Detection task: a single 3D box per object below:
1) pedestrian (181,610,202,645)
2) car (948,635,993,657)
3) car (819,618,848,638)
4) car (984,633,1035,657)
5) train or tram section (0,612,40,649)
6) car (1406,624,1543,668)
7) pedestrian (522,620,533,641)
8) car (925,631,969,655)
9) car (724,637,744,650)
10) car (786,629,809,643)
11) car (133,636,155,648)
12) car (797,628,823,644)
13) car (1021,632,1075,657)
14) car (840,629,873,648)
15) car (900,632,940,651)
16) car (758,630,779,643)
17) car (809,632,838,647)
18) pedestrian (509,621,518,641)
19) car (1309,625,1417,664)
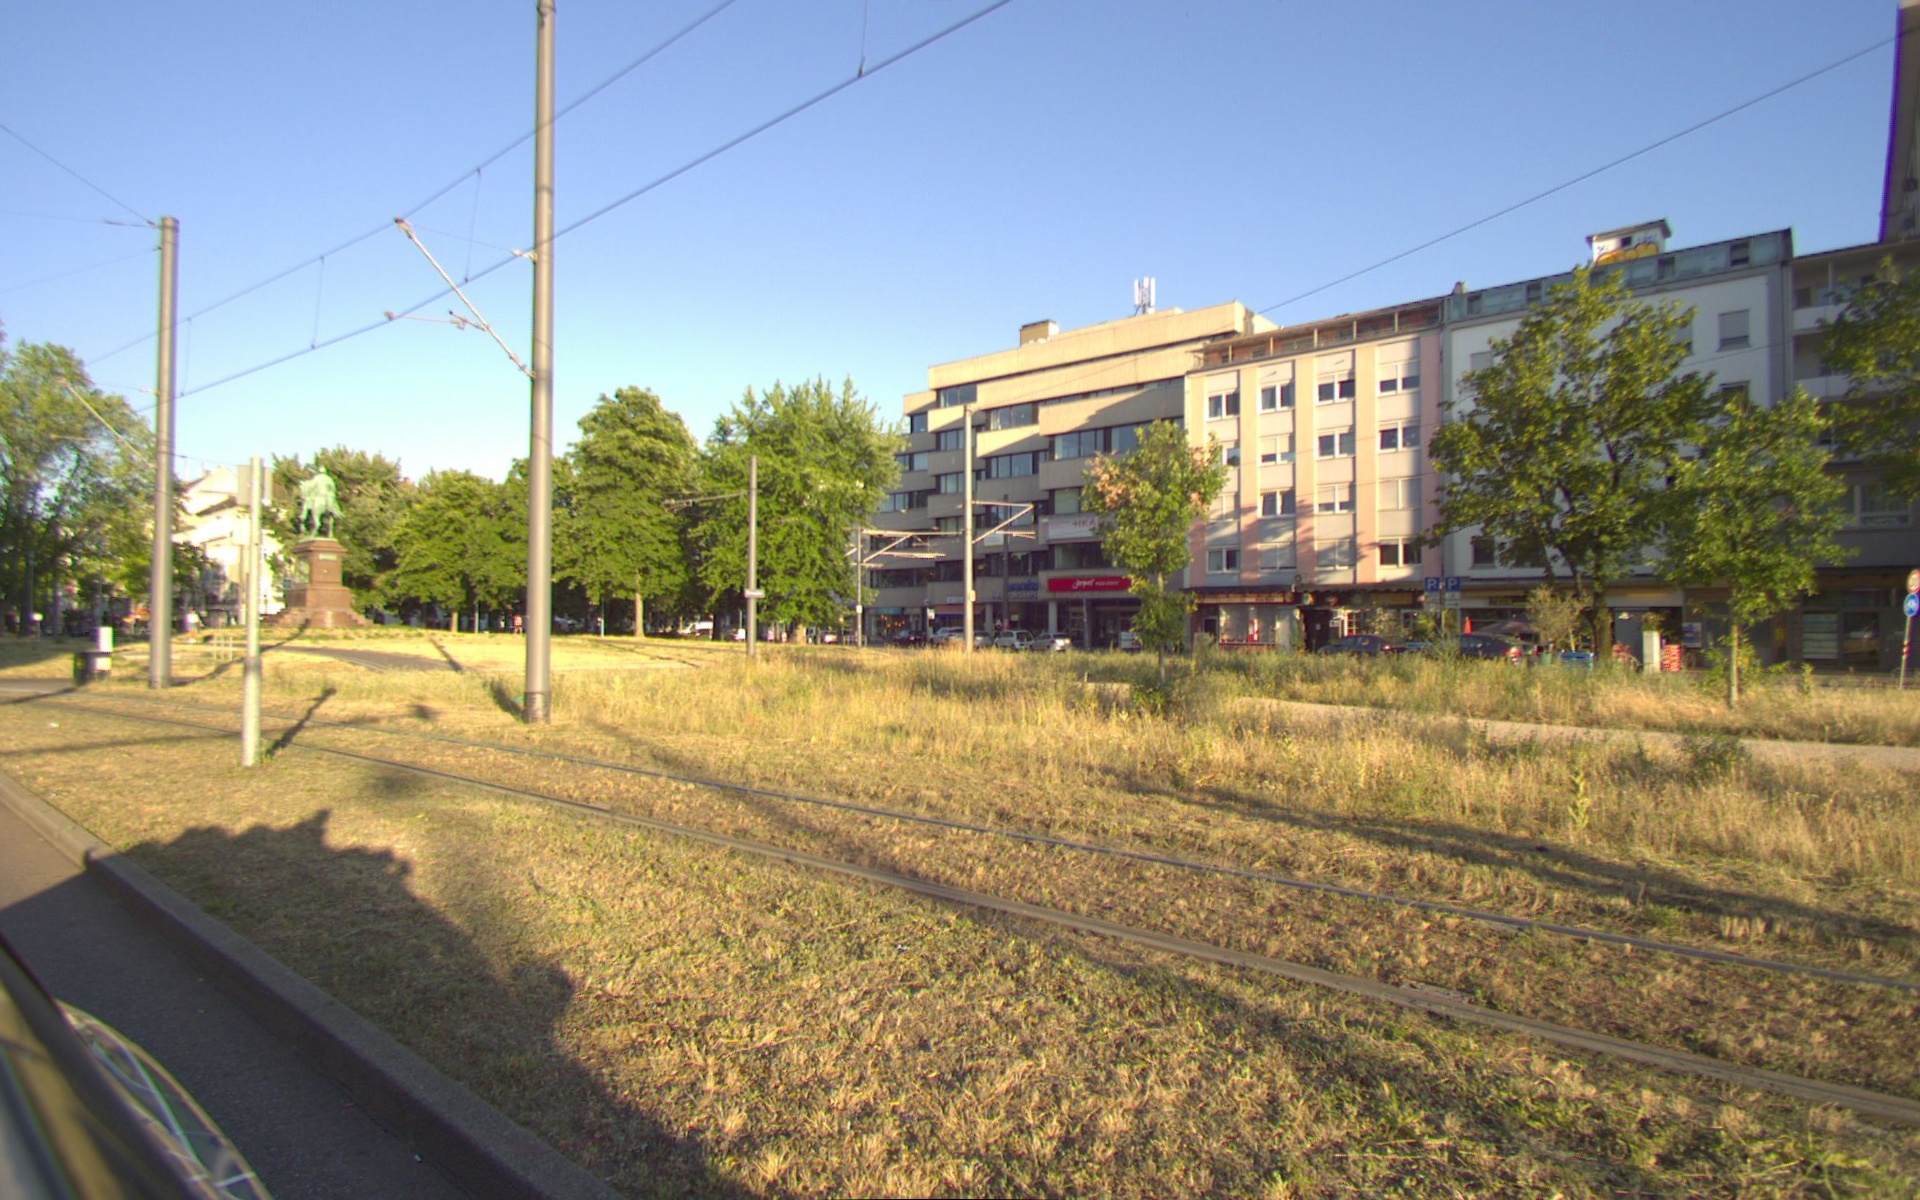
[{"bbox_3d":[-37.608,1.351,49.495,0.831,1.703,0.472,-1,-3,27],"label":"pedestrian"},{"bbox_3d":[0.744,3.401,75.026,1.729,1.564,4.013,0,-3,-26],"label":"car"},{"bbox_3d":[-13.256,2.984,105.863,1.729,1.959,4.222,0,-3,-26],"label":"car"},{"bbox_3d":[3.368,3.106,69.588,1.729,1.564,4.013,0,-3,-26],"label":"car"},{"bbox_3d":[-83.720,2.561,85.293,2.878,3.165,12.673,0,-1,-11],"label":"train or tram section"},{"bbox_3d":[19.042,1.724,37.635,1.729,1.538,4.305,0,-3,-27],"label":"car"},{"bbox_3d":[-33.507,2.360,78.349,0.553,1.593,0.611,-3,-4,42],"label":"pedestrian"},{"bbox_3d":[-1.059,3.440,80.086,1.729,1.808,4.222,0,-3,-26],"label":"car"},{"bbox_3d":[-30.601,5.894,136.976,1.833,1.569,4.081,0,-3,-26],"label":"car"},{"bbox_3d":[-19.000,4.252,118.325,1.766,1.592,4.013,0,-3,-23],"label":"car"},{"bbox_3d":[-111.479,5.782,138.305,3.966,1.564,1.701,-3,-4,41],"label":"car"},{"bbox_3d":[-16.812,4.023,113.451,1.729,1.676,4.013,0,-3,-26],"label":"car"},{"bbox_3d":[5.584,2.857,65.016,1.729,1.564,4.013,0,-3,-23],"label":"car"},{"bbox_3d":[-10.255,3.809,100.148,1.906,1.808,4.222,0,-3,-26],"label":"car"},{"bbox_3d":[-3.443,3.534,86.169,1.833,1.569,4.081,0,-3,-26],"label":"car"},{"bbox_3d":[-24.559,4.700,129.582,1.766,1.592,4.013,0,-3,-23],"label":"car"},{"bbox_3d":[-13.413,3.903,99.330,1.681,1.401,4.013,0,-3,-25],"label":"car"},{"bbox_3d":[-34.415,2.389,78.007,0.553,1.524,0.447,-3,-4,42],"label":"pedestrian"},{"bbox_3d":[16.793,1.869,42.317,1.729,1.538,4.013,0,-3,-27],"label":"car"}]
